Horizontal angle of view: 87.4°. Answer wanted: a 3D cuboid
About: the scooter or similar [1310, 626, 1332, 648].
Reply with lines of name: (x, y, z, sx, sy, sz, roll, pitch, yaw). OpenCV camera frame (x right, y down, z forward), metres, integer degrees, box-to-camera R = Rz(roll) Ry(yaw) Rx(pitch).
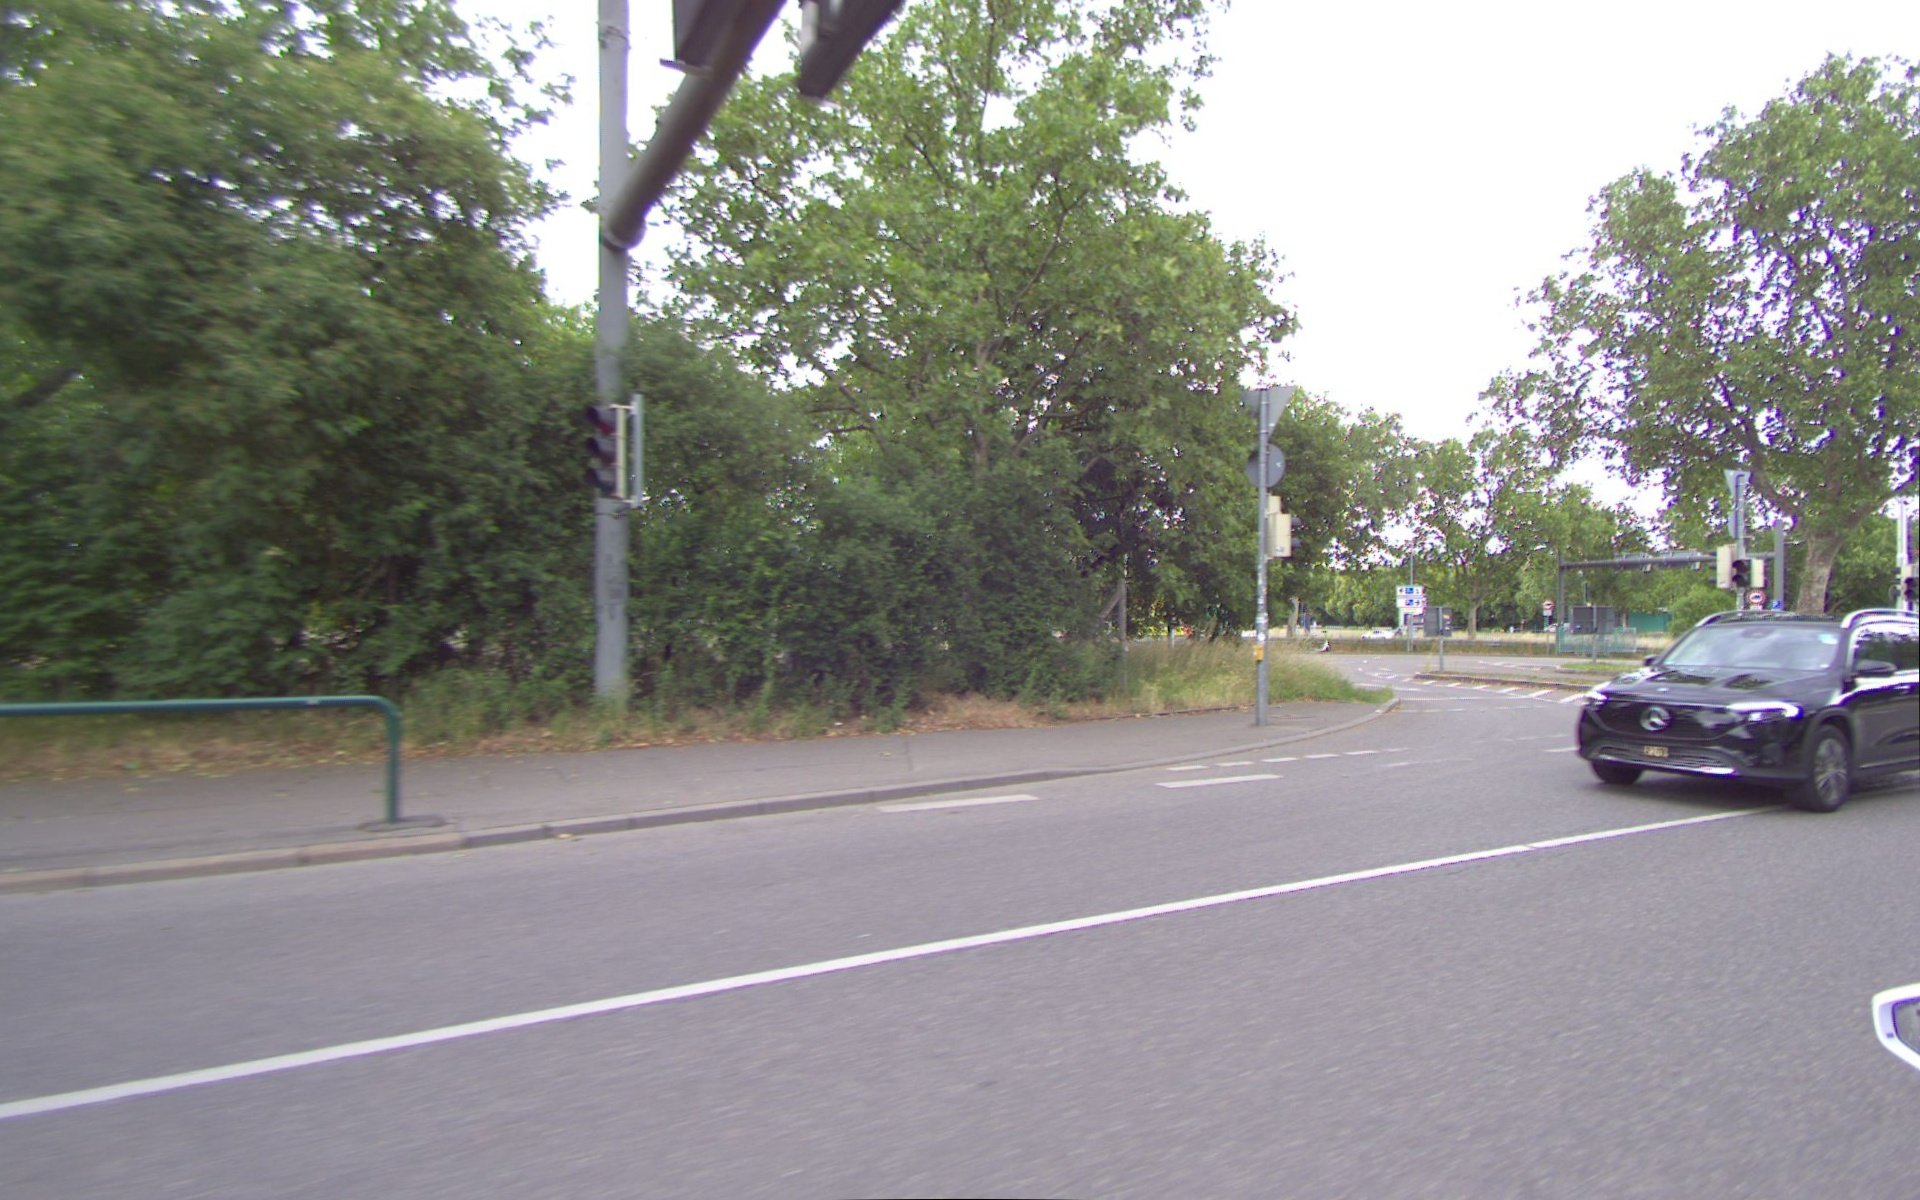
scooter or similar: (20.274, 2.076, 56.412, 1.200, 1.237, 0.414, 1, 0, -19)

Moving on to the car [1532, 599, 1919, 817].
car: (7.857, 0.898, 9.683, 4.459, 1.682, 1.986, 1, -2, -27)
